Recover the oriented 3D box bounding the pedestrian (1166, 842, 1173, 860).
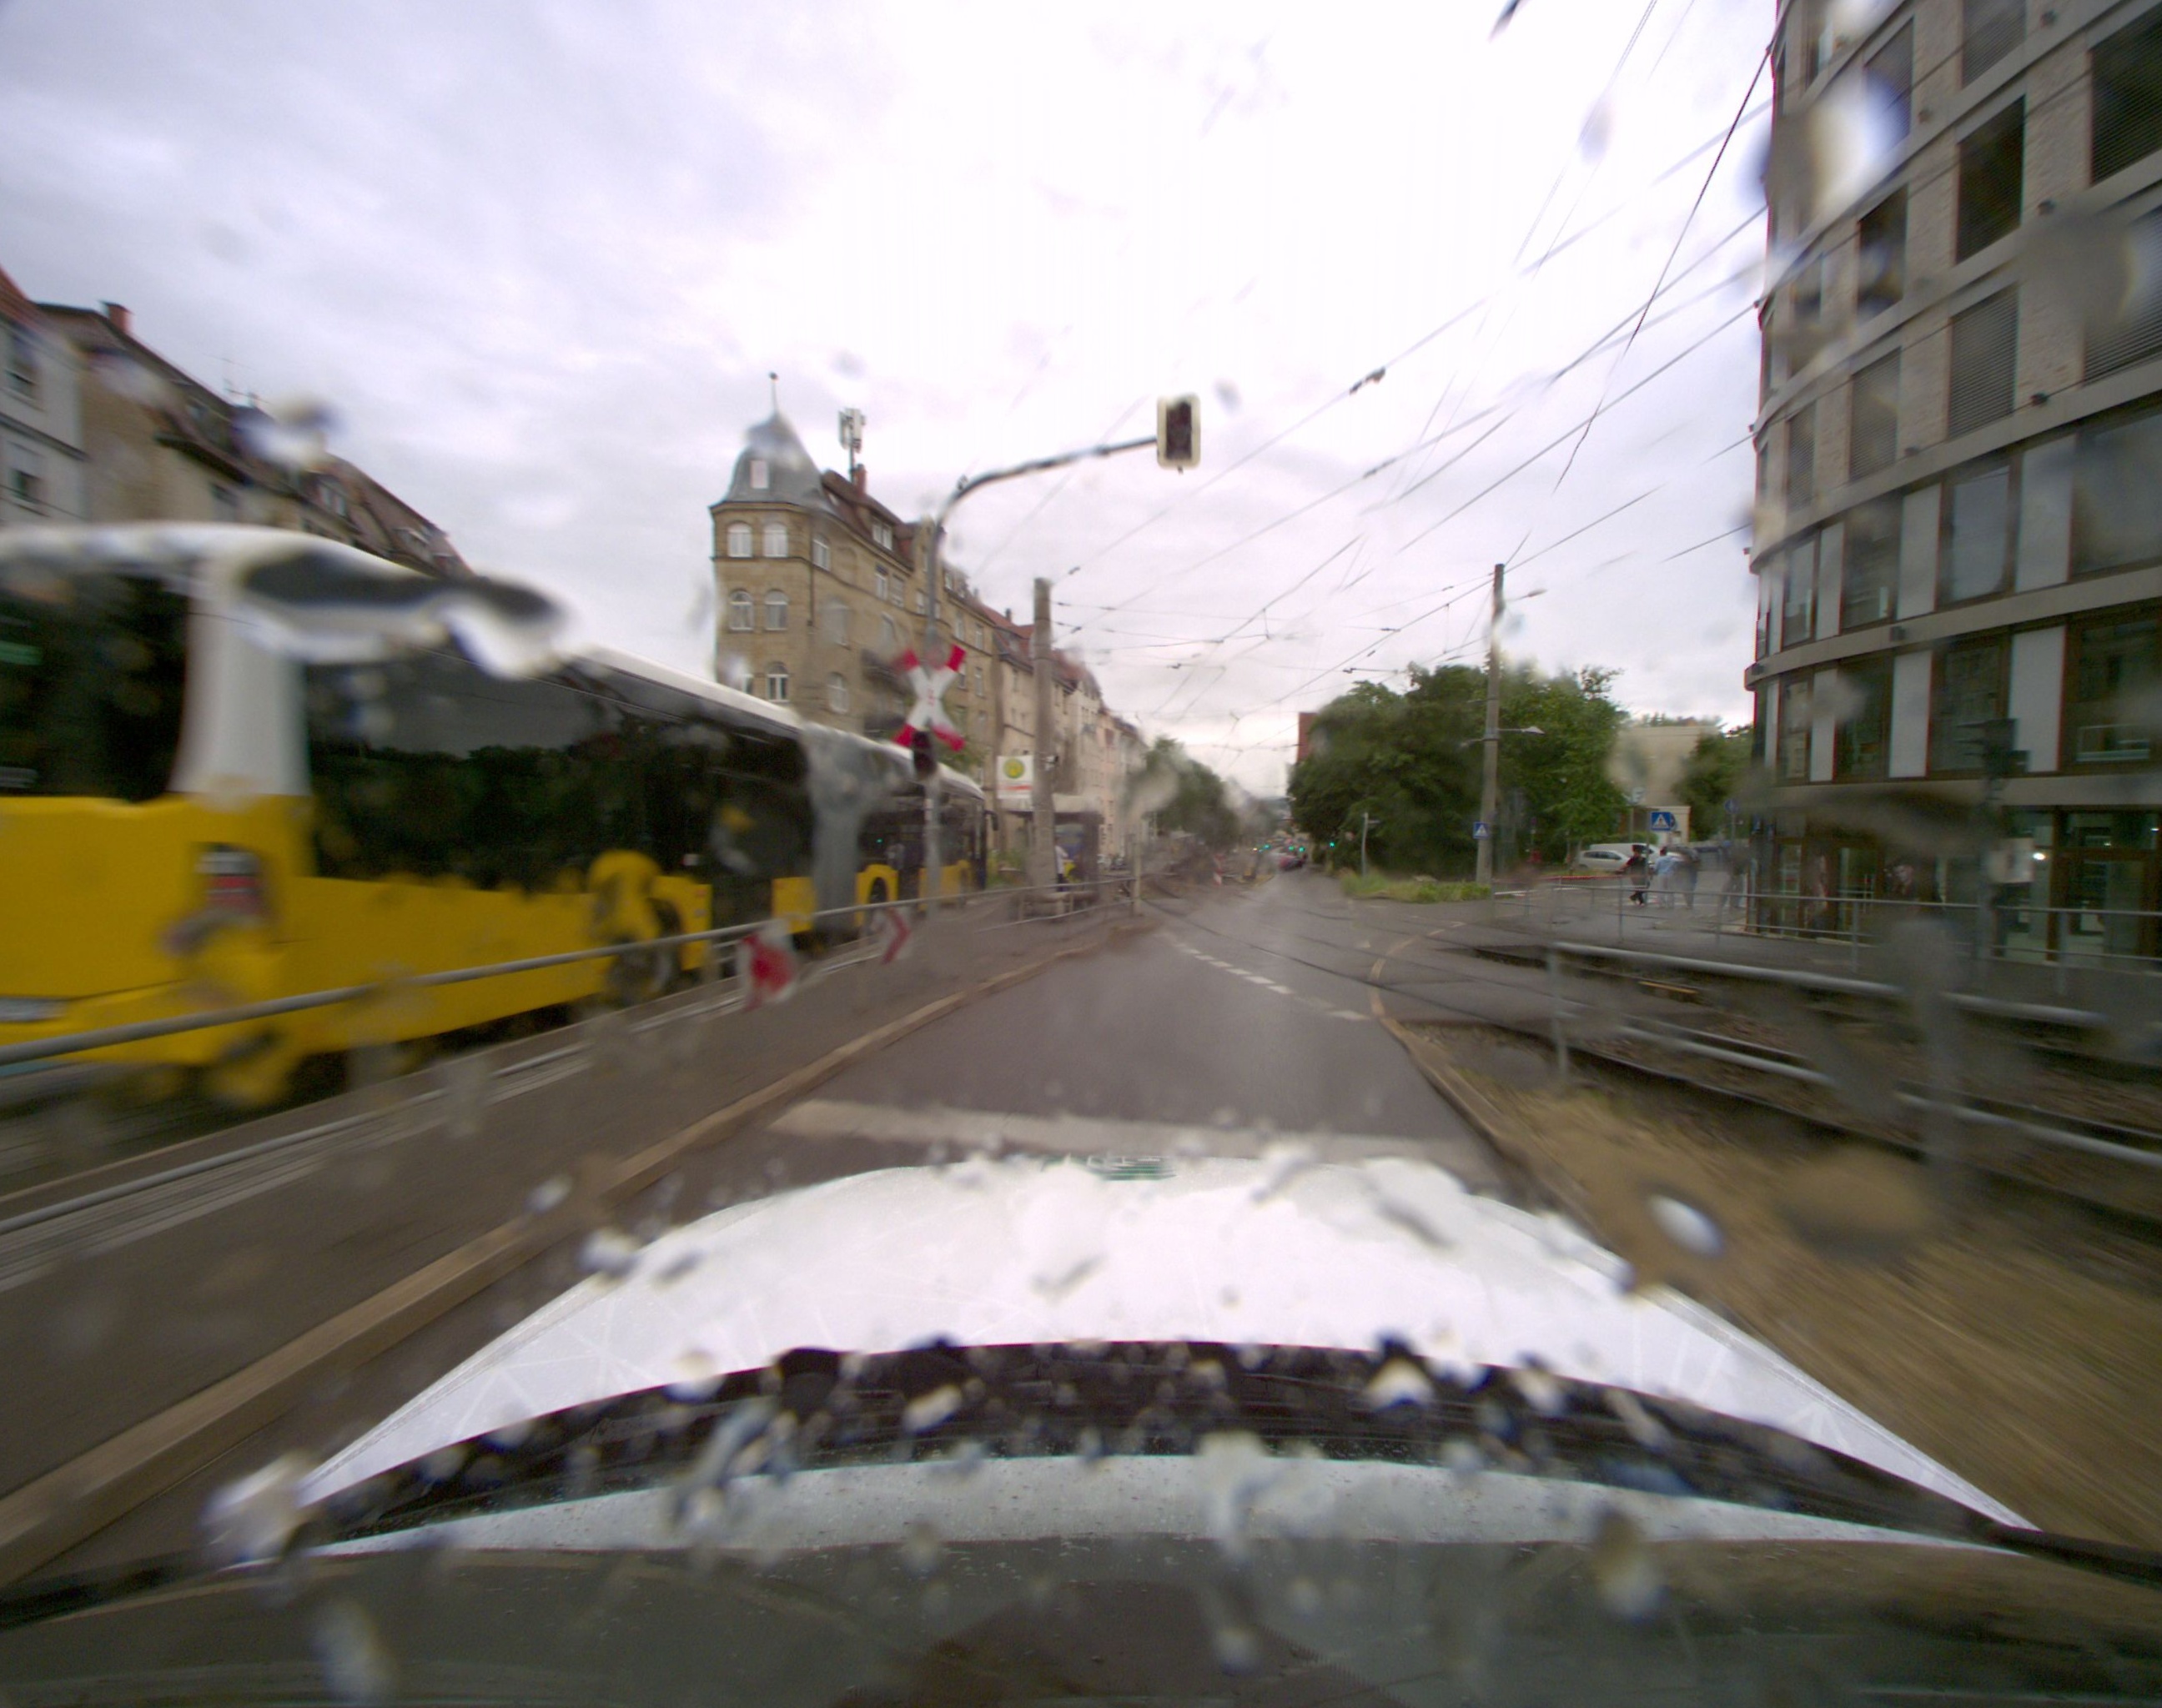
[{"bbox_3d":[9.471,-0.300,87.329,0.512,1.838,0.765,-2,-1,14],"label":"pedestrian"}]

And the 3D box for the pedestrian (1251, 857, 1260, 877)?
[{"bbox_3d":[13.771,1.015,64.107,0.646,1.562,0.686,-1,0,14],"label":"pedestrian"}]

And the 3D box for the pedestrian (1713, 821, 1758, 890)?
[{"bbox_3d":[19.555,0.036,24.347,0.588,2.013,0.894,-3,0,9],"label":"pedestrian"}]

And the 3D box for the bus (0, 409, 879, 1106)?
[{"bbox_3d":[-5.057,-0.440,8.698,2.577,3.469,9.123,-1,-1,6],"label":"bus"}]

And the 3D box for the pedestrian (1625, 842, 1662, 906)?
[{"bbox_3d":[18.308,0.639,26.514,0.678,2.013,0.788,-2,0,8],"label":"pedestrian"}]

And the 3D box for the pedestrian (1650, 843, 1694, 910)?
[{"bbox_3d":[18.163,0.677,25.050,0.653,2.013,0.892,-2,0,1],"label":"pedestrian"}]

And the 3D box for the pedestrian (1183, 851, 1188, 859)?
[{"bbox_3d":[12.513,0.145,97.533,0.546,0.872,0.616,-2,-1,14],"label":"pedestrian"}]

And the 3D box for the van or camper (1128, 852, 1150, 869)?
[{"bbox_3d":[7.176,0.763,100.129,1.979,2.013,4.015,-2,0,13],"label":"van or camper"}]

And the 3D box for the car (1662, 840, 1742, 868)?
[{"bbox_3d":[41.735,0.032,54.808,1.745,1.684,3.862,-1,-1,-35],"label":"car"}]

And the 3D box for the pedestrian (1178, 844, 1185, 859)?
[{"bbox_3d":[11.503,-0.265,92.996,0.590,1.666,0.765,-2,-1,14],"label":"pedestrian"}]

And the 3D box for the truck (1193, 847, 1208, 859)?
[{"bbox_3d":[24.296,-0.121,165.889,2.035,2.393,6.349,-1,0,17],"label":"truck"}]

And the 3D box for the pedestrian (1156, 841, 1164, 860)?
[{"bbox_3d":[7.687,-0.333,79.069,0.557,1.850,0.601,-2,-1,14],"label":"pedestrian"}]

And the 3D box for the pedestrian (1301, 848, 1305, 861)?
[{"bbox_3d":[32.945,0.094,120.785,0.550,1.813,0.653,0,0,11],"label":"pedestrian"}]

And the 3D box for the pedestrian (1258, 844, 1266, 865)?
[{"bbox_3d":[15.263,0.039,68.690,0.646,1.784,0.851,-1,0,14],"label":"pedestrian"}]

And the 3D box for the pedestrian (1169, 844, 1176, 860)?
[{"bbox_3d":[10.098,-0.198,89.796,0.590,1.666,0.765,-2,-1,14],"label":"pedestrian"}]

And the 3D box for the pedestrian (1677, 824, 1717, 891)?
[{"bbox_3d":[18.858,0.105,24.939,0.588,2.013,0.894,-2,0,9],"label":"pedestrian"}]

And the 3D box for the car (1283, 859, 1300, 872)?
[{"bbox_3d":[25.511,1.406,98.713,1.839,1.473,4.014,-1,0,13],"label":"car"}]

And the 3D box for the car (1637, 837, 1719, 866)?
[{"bbox_3d":[38.544,-0.124,52.655,1.745,1.684,3.862,-1,-1,-35],"label":"car"}]

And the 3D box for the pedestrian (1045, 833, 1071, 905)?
[{"bbox_3d":[-0.574,0.376,20.250,0.573,1.752,0.544,-1,-1,3],"label":"pedestrian"}]

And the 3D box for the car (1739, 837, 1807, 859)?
[{"bbox_3d":[57.588,-0.510,67.790,1.855,1.771,3.958,-1,1,-34],"label":"car"}]

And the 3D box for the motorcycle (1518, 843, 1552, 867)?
[{"bbox_3d":[27.813,0.060,49.878,2.441,1.375,0.816,0,3,-38],"label":"motorcycle"}]

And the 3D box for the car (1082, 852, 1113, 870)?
[{"bbox_3d":[1.668,0.669,79.501,1.909,1.622,4.554,-2,0,15],"label":"car"}]

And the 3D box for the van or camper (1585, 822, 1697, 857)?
[{"bbox_3d":[33.780,-0.862,49.276,2.007,1.834,5.129,-1,-1,-32],"label":"van or camper"}]

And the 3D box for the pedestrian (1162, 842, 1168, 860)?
[{"bbox_3d":[8.651,-0.325,83.871,0.512,1.838,0.765,-2,-1,14],"label":"pedestrian"}]

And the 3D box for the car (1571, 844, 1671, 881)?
[{"bbox_3d":[31.539,0.470,47.682,2.009,2.013,4.458,0,0,-37],"label":"car"}]

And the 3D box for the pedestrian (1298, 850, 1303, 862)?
[{"bbox_3d":[32.479,0.284,120.247,0.690,1.695,0.557,0,0,13],"label":"pedestrian"}]

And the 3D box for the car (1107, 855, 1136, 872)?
[{"bbox_3d":[4.437,1.032,88.164,1.978,1.732,4.834,-2,-1,16],"label":"car"}]
